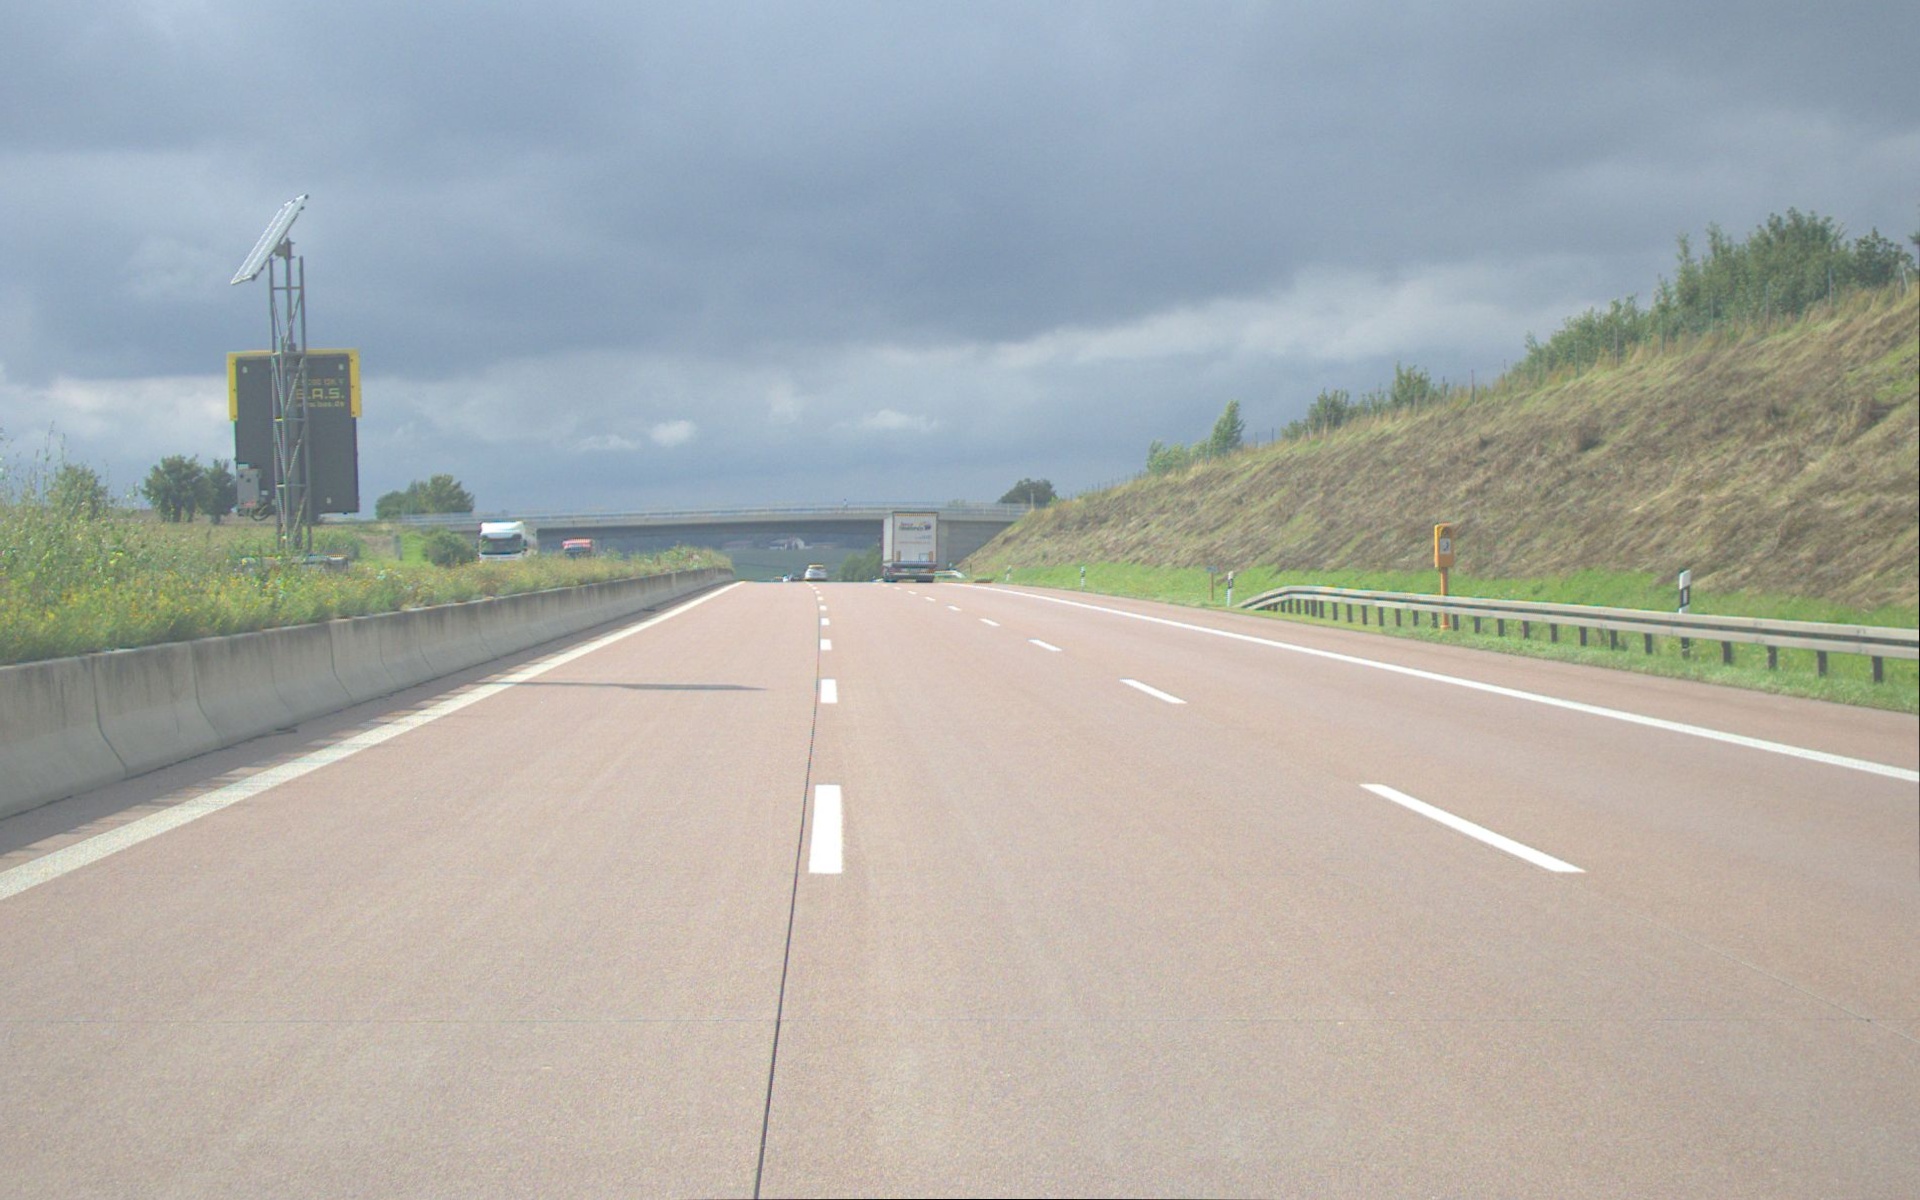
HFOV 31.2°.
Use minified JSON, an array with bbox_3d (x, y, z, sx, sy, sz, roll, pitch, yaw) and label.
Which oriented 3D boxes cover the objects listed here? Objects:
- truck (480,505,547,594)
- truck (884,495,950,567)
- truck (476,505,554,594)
[{"bbox_3d":[-26.229,-3.016,202.390,2.990,5.048,10.987,1,1,-3],"label":"truck"},{"bbox_3d":[-2.534,-3.984,198.164,3.617,3.932,11.175,1,1,-1],"label":"truck"},{"bbox_3d":[-26.243,-3.023,203.359,2.990,5.048,10.986,1,1,0],"label":"truck"}]
